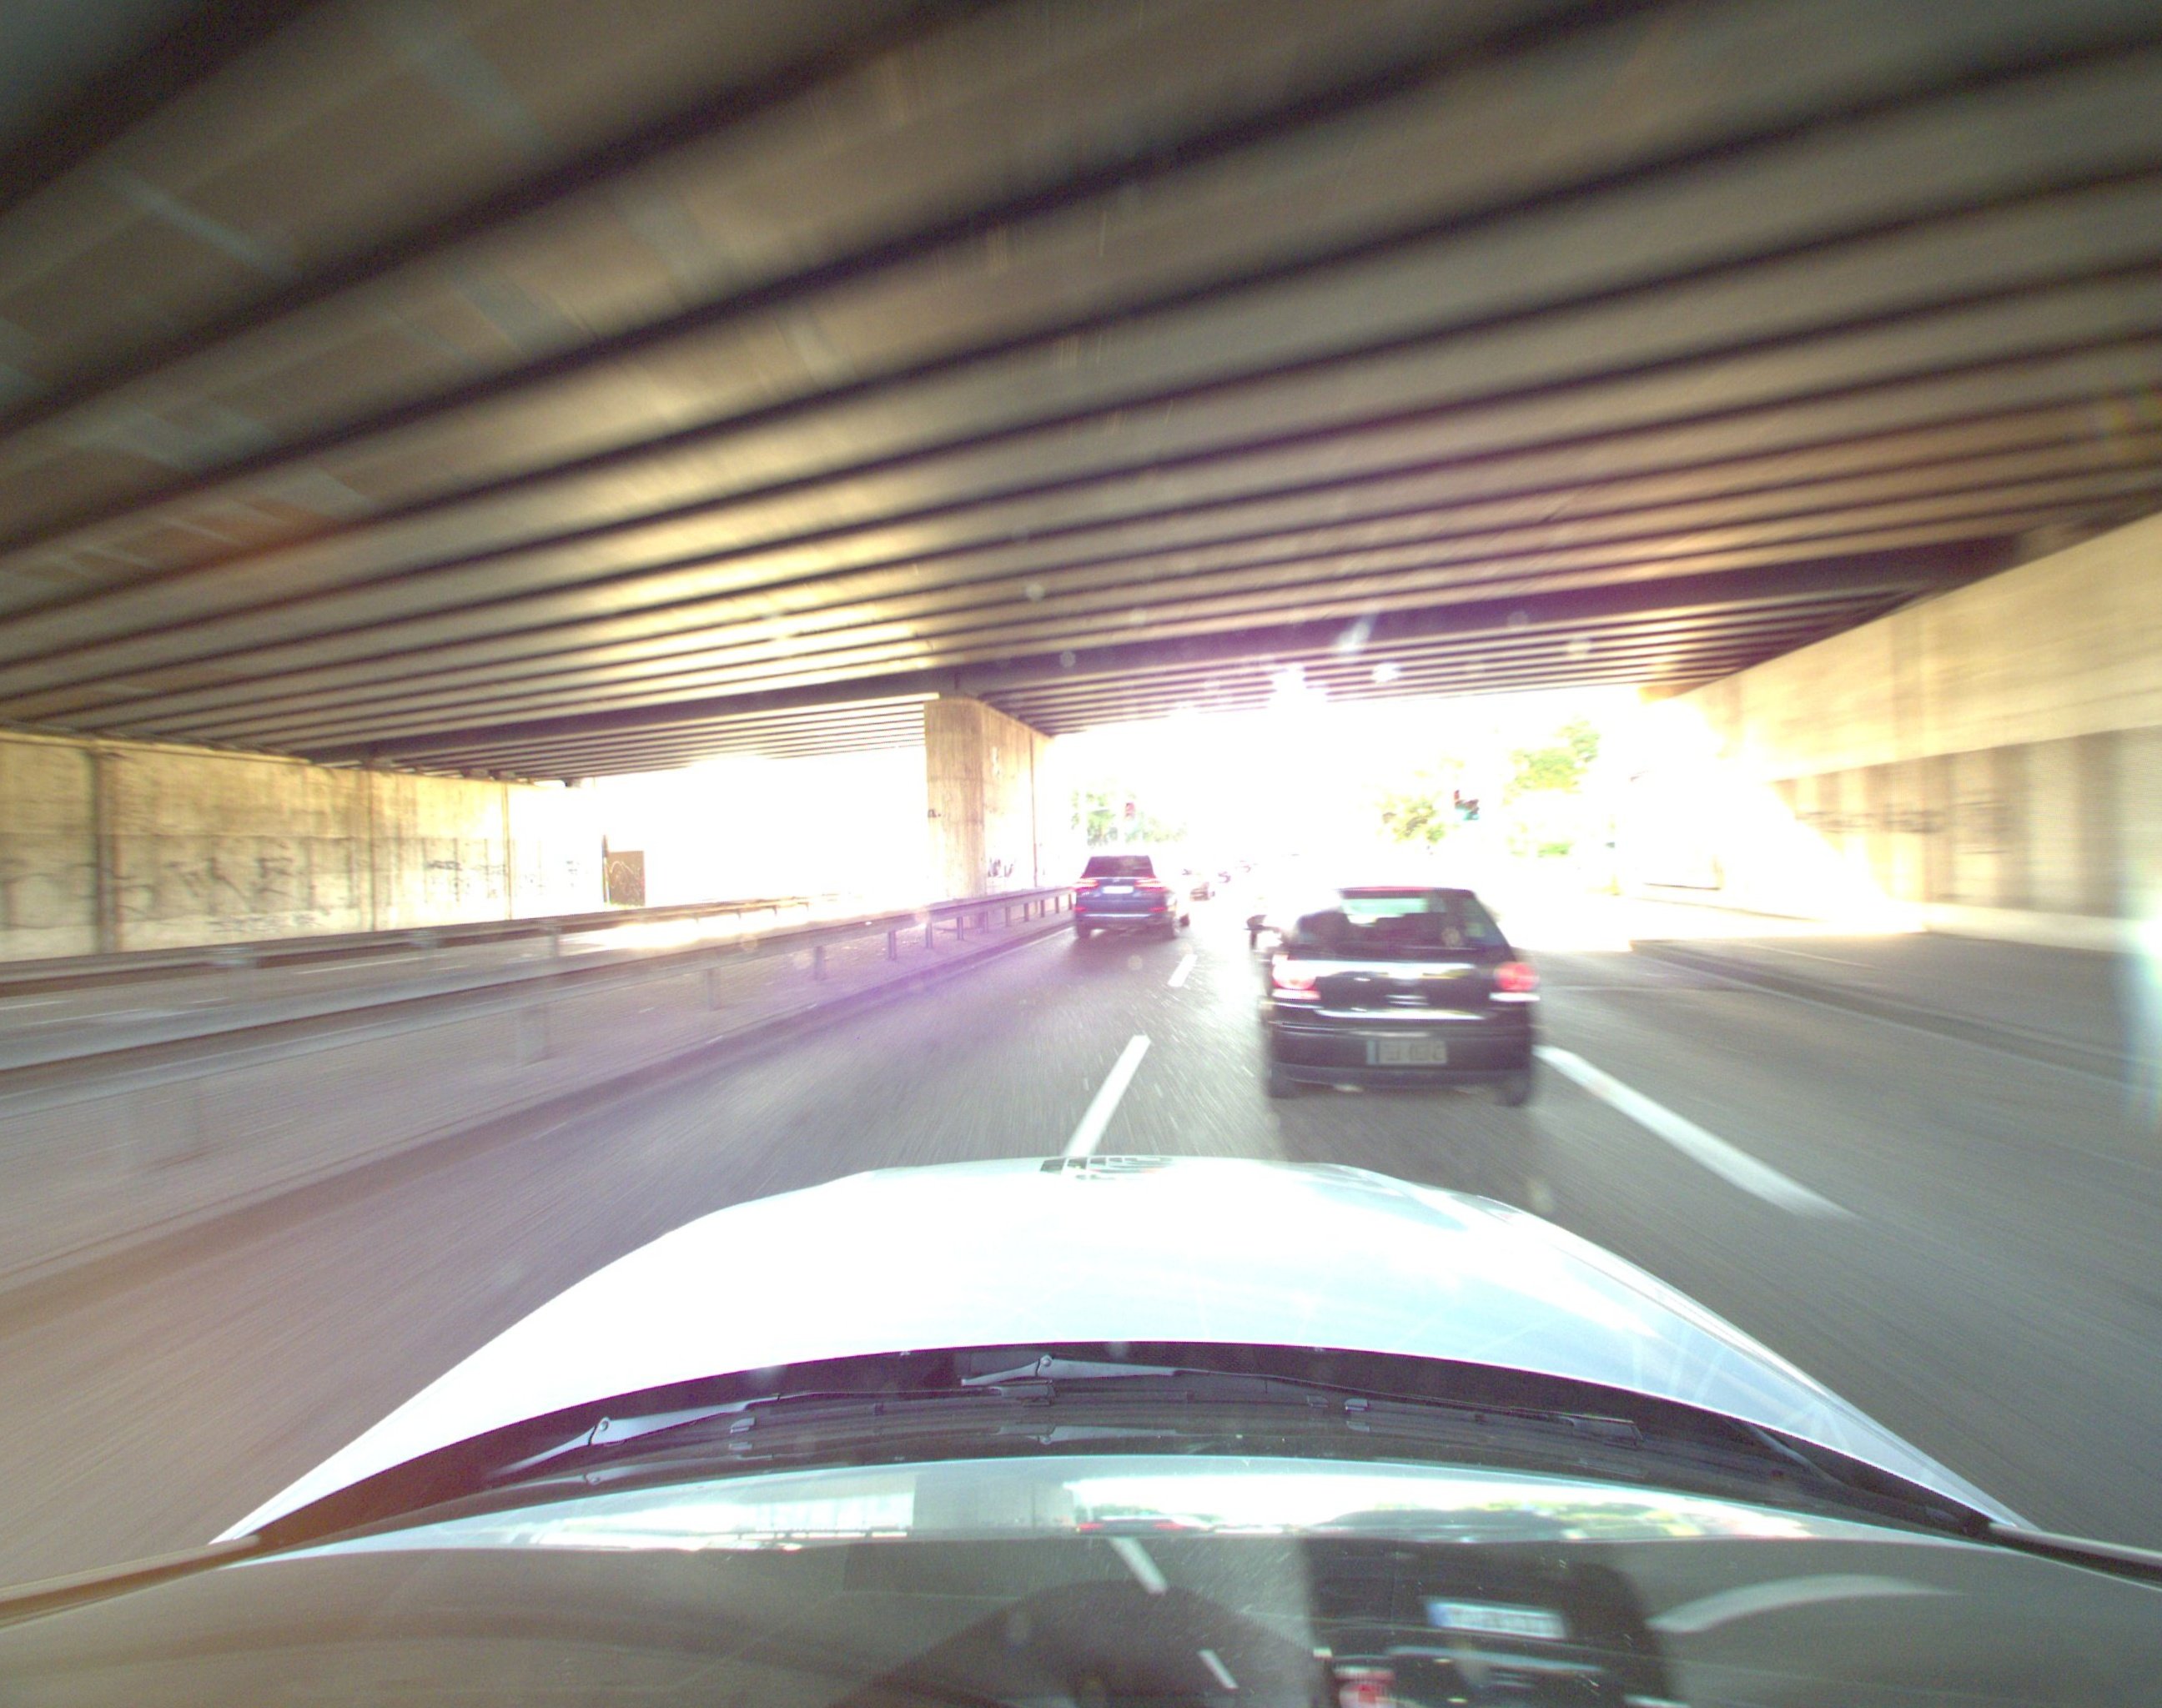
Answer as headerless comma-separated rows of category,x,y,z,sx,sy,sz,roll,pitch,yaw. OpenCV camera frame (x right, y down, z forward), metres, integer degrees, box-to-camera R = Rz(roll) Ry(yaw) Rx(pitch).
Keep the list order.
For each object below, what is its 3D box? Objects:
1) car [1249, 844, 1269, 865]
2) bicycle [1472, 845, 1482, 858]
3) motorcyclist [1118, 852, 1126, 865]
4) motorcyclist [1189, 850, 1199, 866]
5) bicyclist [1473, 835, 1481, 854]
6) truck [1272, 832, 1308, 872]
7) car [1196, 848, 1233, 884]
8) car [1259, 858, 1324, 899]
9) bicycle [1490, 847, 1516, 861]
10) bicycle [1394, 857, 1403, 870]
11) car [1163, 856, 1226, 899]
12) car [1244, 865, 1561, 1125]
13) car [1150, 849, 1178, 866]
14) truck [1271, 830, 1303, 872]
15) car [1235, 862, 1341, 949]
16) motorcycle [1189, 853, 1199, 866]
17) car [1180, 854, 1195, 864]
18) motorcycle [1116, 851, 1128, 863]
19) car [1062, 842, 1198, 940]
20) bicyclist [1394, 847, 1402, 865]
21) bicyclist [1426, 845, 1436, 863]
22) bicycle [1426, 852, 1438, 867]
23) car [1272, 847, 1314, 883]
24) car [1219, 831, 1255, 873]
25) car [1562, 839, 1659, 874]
car,14.845,0.041,67.782,1.605,1.679,3.696,0,-1,13
bicycle,28.394,-0.188,58.402,0.434,0.914,1.030,0,-1,15
motorcyclist,4.298,0.463,85.831,0.676,1.424,0.871,0,-1,17
motorcyclist,9.878,0.332,71.174,0.793,1.349,1.277,-3,1,7
bicyclist,28.398,-0.676,58.451,0.424,1.309,0.461,0,-1,14
truck,12.549,-0.079,48.911,1.982,2.315,4.015,0,-1,14
car,6.696,0.584,40.616,1.605,1.679,3.696,0,-1,13
car,7.206,0.795,27.926,1.979,1.295,4.015,0,-1,14
bicycle,31.015,-0.001,59.863,1.646,0.991,0.582,-2,2,31
bicycle,22.490,0.674,57.764,0.434,0.914,1.030,-3,-1,14
car,4.047,0.792,28.690,1.604,1.410,3.699,0,-1,17
car,2.158,0.800,6.426,1.607,1.410,3.693,0,-1,10
car,7.531,0.305,73.972,1.979,1.475,4.095,0,-1,13
truck,13.594,-0.169,53.667,1.982,2.669,4.015,0,-1,14
car,3.764,0.863,15.351,1.569,1.413,4.072,0,-1,9
motorcycle,9.858,0.449,71.117,0.835,1.076,2.406,-4,0,8
car,18.421,0.889,140.843,1.980,1.400,4.364,-5,-2,13
motorcycle,4.289,0.327,85.822,0.675,1.156,2.249,0,-1,18
car,1.177,0.683,16.882,1.979,1.734,4.550,0,-1,14
bicyclist,22.470,0.164,57.766,0.424,1.233,0.461,-2,-1,14
bicyclist,25.665,0.032,59.680,0.540,1.316,0.838,0,-1,14
bicycle,25.676,0.394,59.662,0.560,1.112,1.628,0,-1,14
car,9.768,0.502,37.557,1.783,1.559,4.015,0,-1,14
car,10.115,-0.093,53.108,2.124,2.576,5.100,0,-1,9
car,25.177,0.131,38.719,4.060,1.630,1.732,0,-1,-18
